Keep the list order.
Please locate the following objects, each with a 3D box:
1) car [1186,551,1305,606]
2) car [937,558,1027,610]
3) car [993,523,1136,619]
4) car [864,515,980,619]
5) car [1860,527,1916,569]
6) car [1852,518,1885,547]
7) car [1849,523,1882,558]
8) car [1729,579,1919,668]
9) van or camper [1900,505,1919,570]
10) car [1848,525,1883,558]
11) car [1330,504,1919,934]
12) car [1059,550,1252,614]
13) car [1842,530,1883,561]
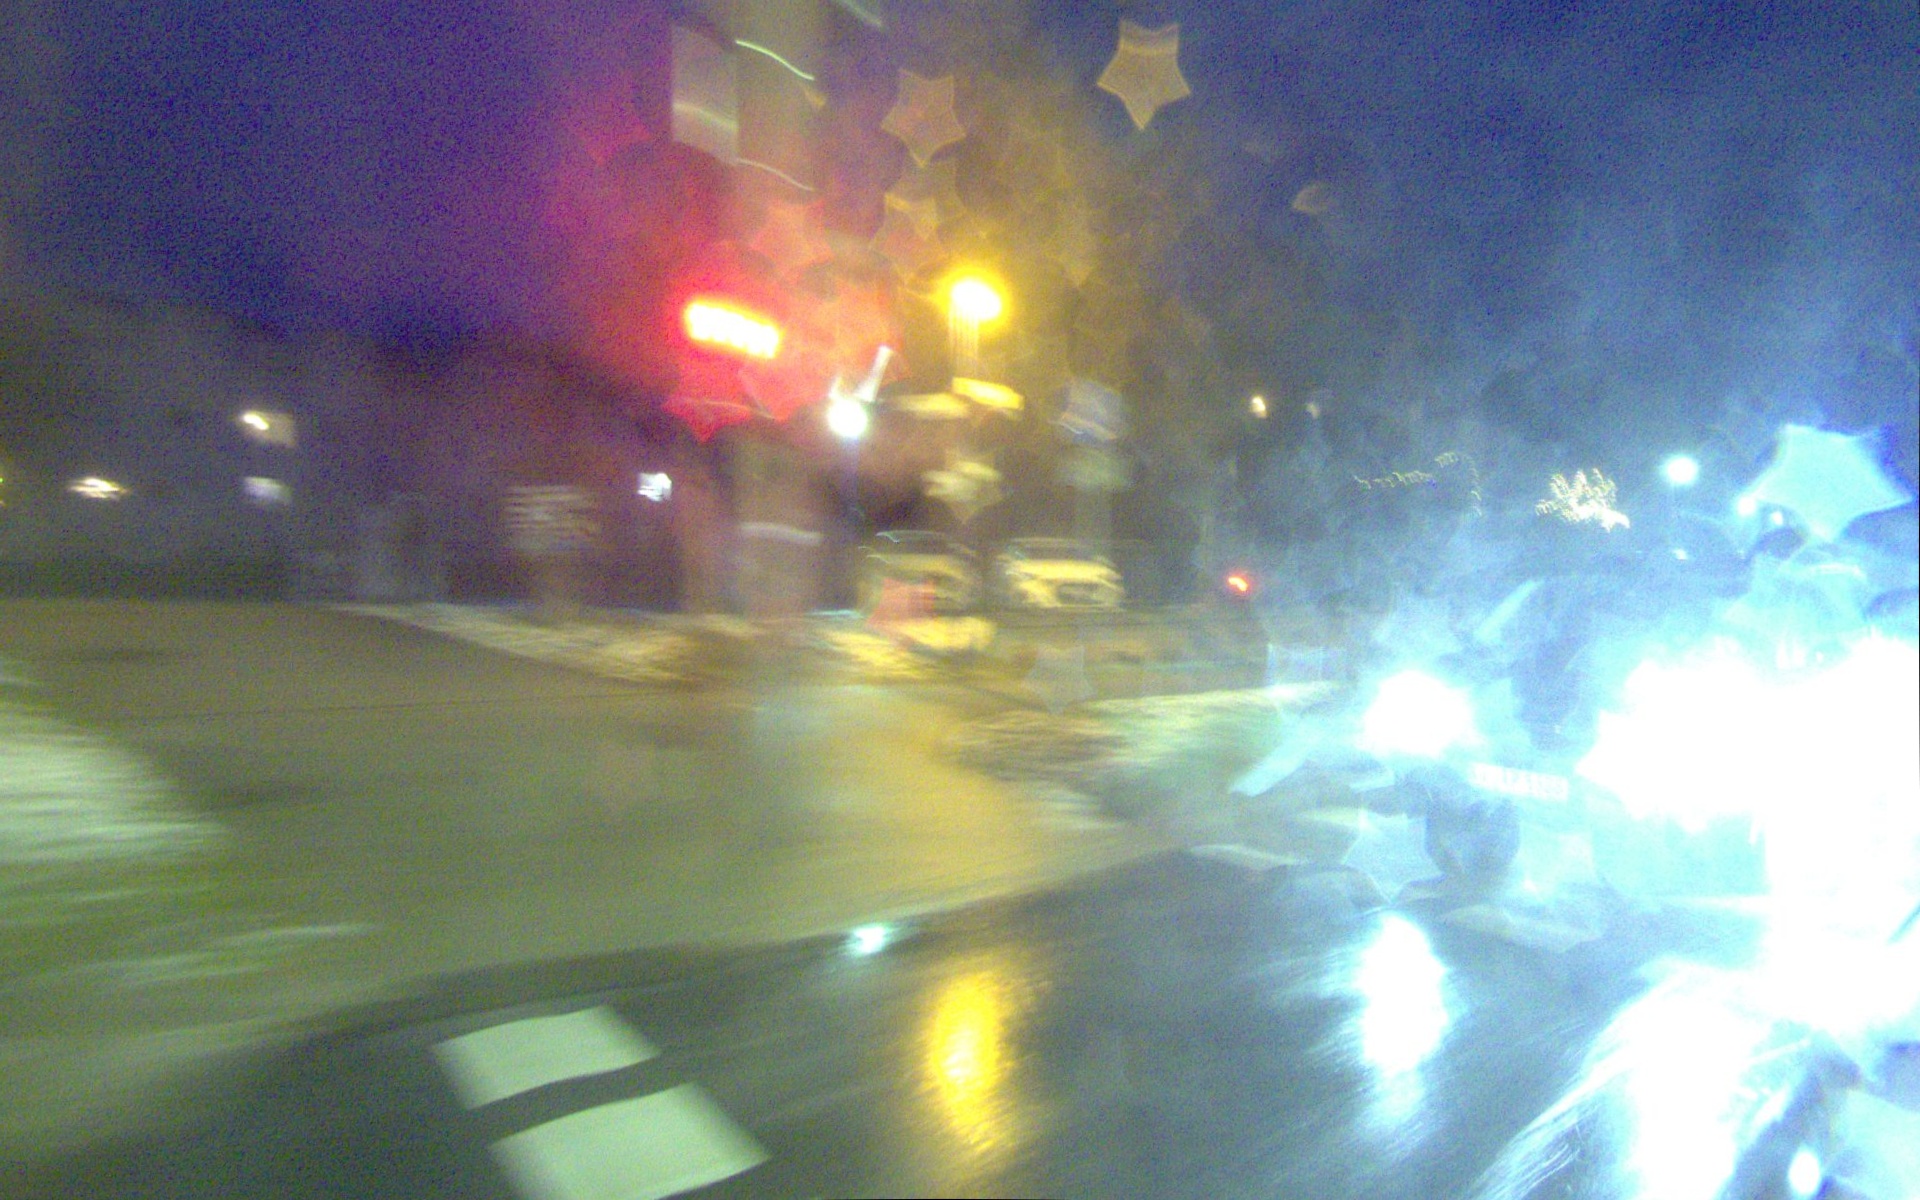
[{"bbox_3d":[8.522,-0.647,30.607,1.727,1.505,3.955,-1,1,-13],"label":"car"},{"bbox_3d":[0.592,-0.476,30.268,1.693,1.400,4.008,-1,1,-14],"label":"car"},{"bbox_3d":[1.733,-0.497,18.216,1.815,1.478,4.345,-1,1,-4],"label":"car"},{"bbox_3d":[-0.724,-0.562,17.905,1.797,1.593,3.891,-1,1,-4],"label":"car"},{"bbox_3d":[47.827,-2.654,52.221,1.991,2.039,3.942,-1,1,41],"label":"car"},{"bbox_3d":[68.119,-5.008,75.897,1.727,2.039,3.647,-1,1,41],"label":"car"},{"bbox_3d":[75.300,-4.907,84.238,1.928,2.809,4.193,-1,1,41],"label":"car"},{"bbox_3d":[16.482,0.359,19.171,4.157,1.459,1.791,-1,2,-34],"label":"car"},{"bbox_3d":[44.582,-2.830,45.872,2.402,2.827,5.694,-1,1,38],"label":"van or camper"},{"bbox_3d":[71.666,-4.620,80.145,1.928,2.450,4.193,-1,1,41],"label":"car"},{"bbox_3d":[4.525,0.410,6.364,4.852,1.757,1.839,-2,1,-38],"label":"car"},{"bbox_3d":[5.055,-0.488,26.327,4.608,1.501,1.730,-2,1,-13],"label":"car"},{"bbox_3d":[63.993,-3.819,71.775,1.991,2.039,3.943,-1,1,40],"label":"car"}]
